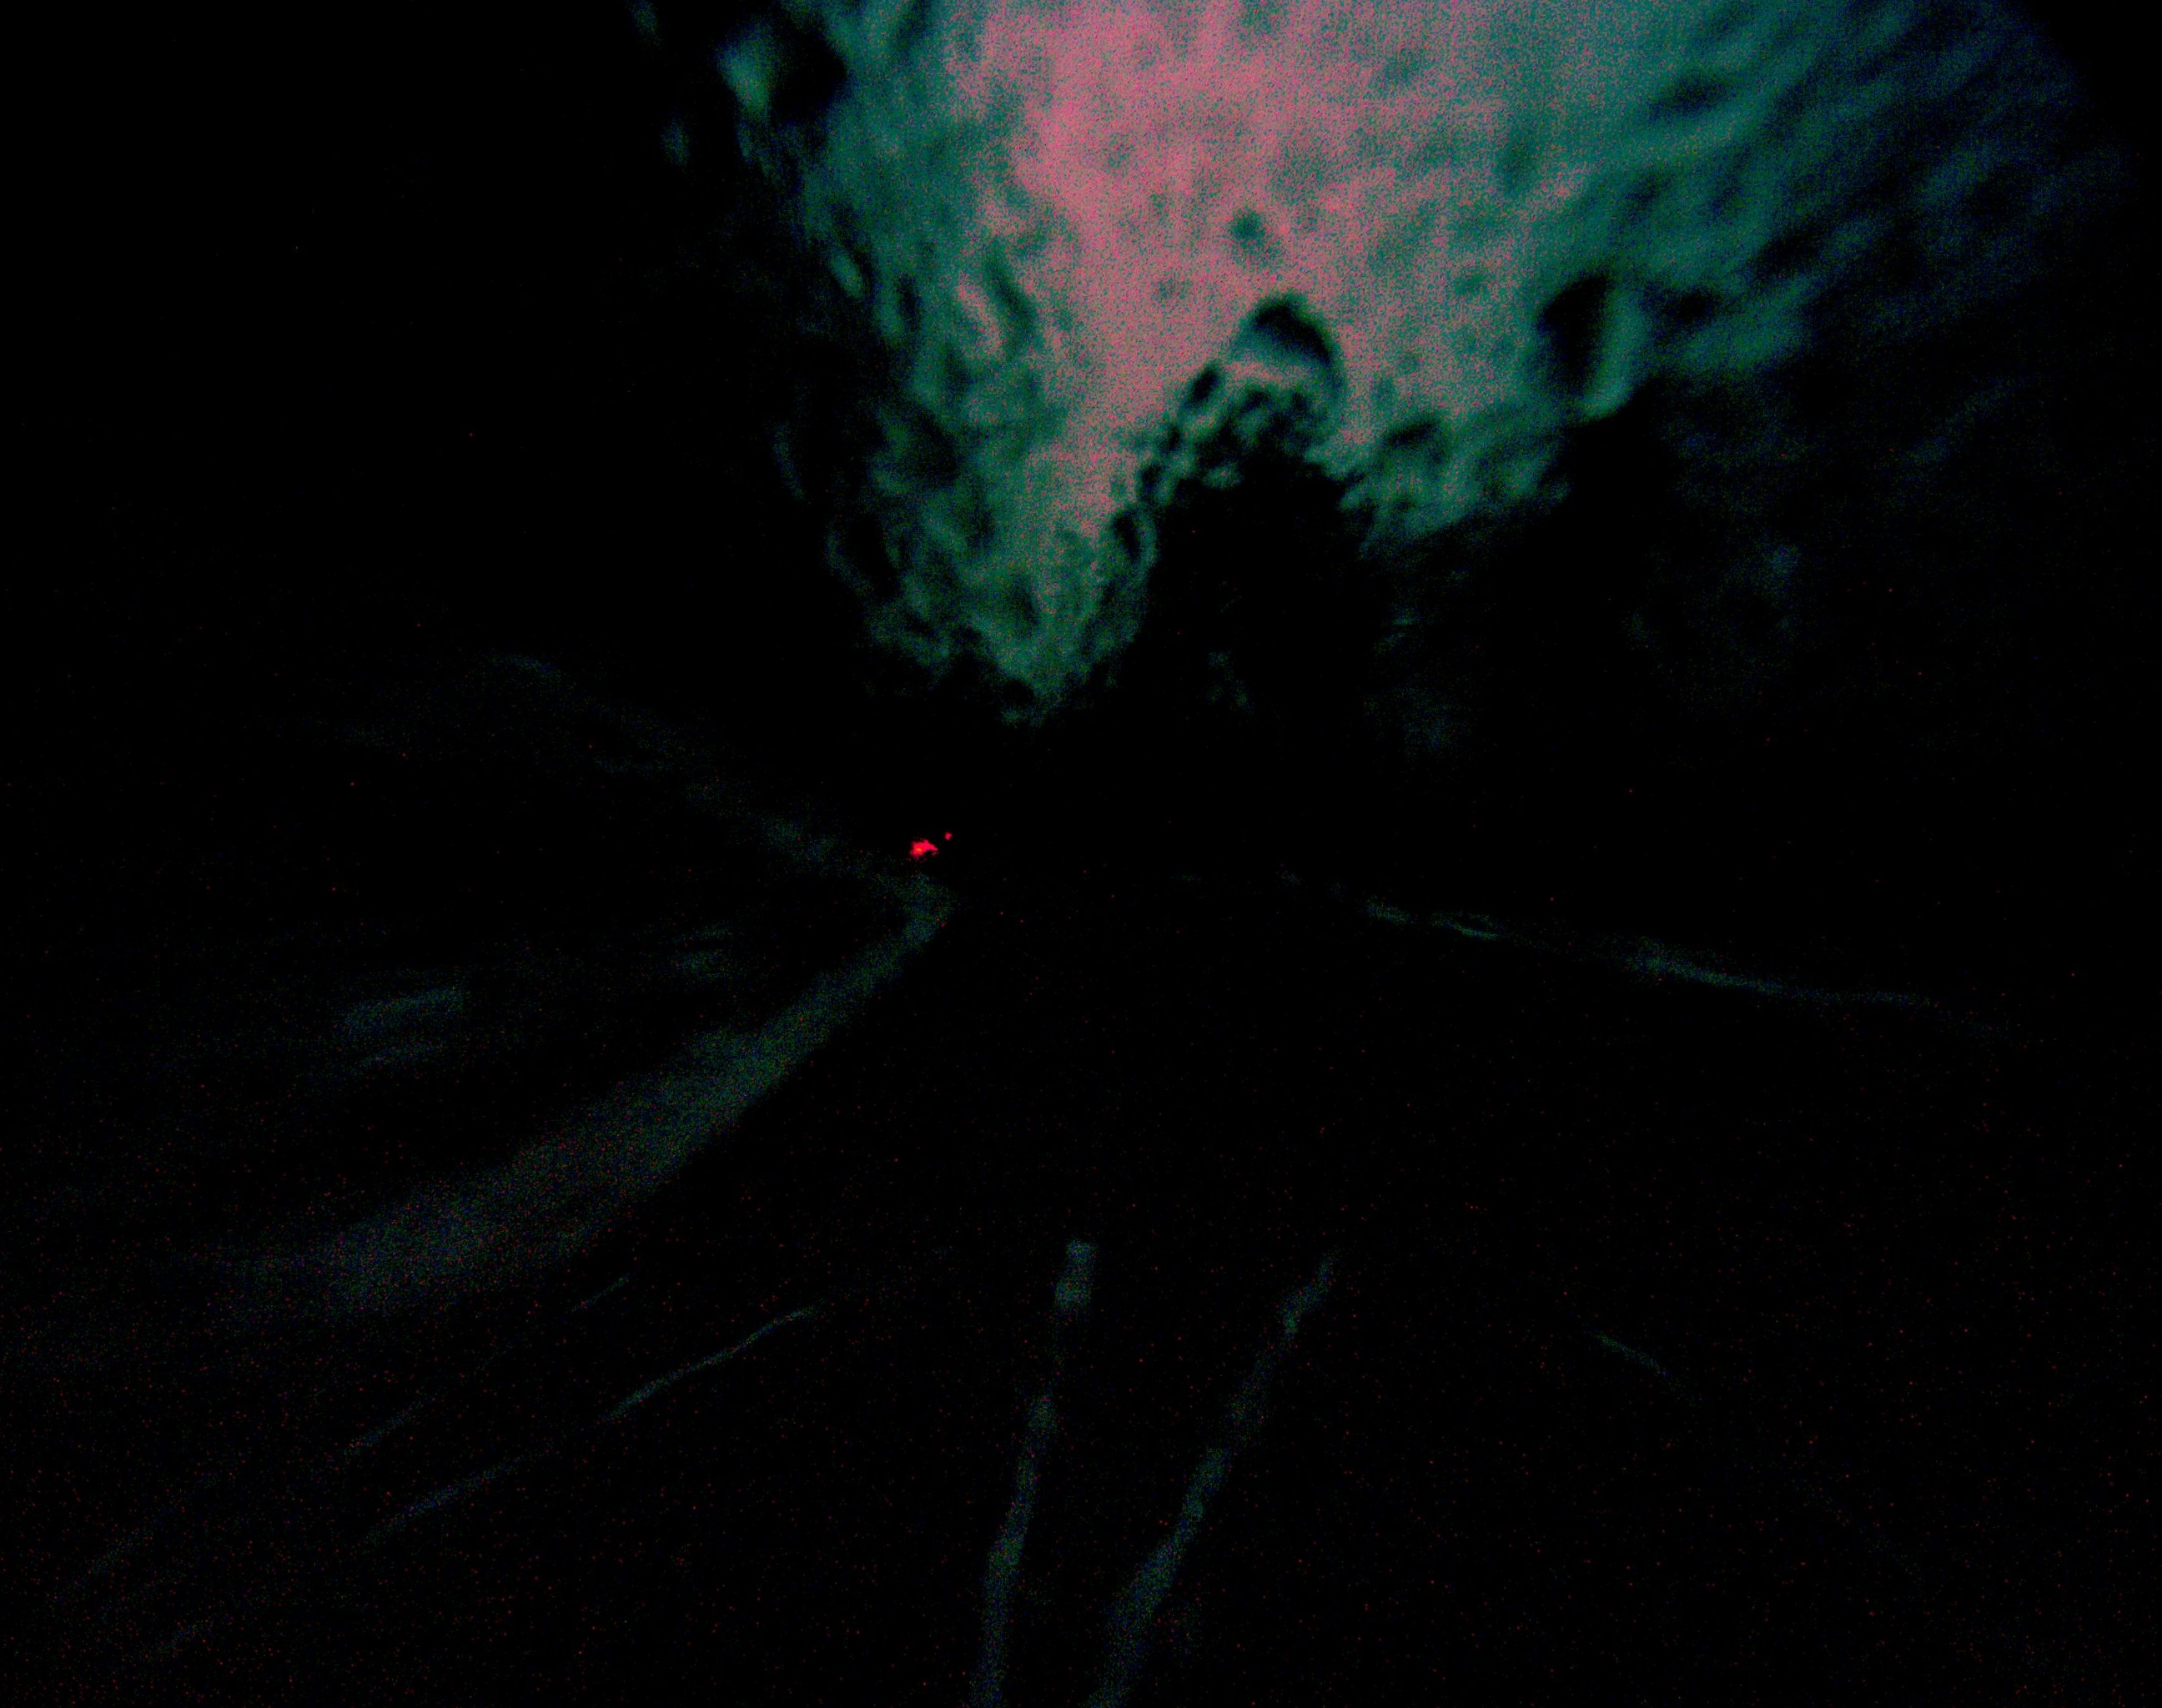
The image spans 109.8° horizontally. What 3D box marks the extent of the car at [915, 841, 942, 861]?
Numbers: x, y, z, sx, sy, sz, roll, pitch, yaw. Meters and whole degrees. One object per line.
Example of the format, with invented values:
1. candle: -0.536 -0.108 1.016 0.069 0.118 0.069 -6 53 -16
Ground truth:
1. car: -13.527 -0.315 67.202 1.728 1.621 3.993 -4 2 -19
